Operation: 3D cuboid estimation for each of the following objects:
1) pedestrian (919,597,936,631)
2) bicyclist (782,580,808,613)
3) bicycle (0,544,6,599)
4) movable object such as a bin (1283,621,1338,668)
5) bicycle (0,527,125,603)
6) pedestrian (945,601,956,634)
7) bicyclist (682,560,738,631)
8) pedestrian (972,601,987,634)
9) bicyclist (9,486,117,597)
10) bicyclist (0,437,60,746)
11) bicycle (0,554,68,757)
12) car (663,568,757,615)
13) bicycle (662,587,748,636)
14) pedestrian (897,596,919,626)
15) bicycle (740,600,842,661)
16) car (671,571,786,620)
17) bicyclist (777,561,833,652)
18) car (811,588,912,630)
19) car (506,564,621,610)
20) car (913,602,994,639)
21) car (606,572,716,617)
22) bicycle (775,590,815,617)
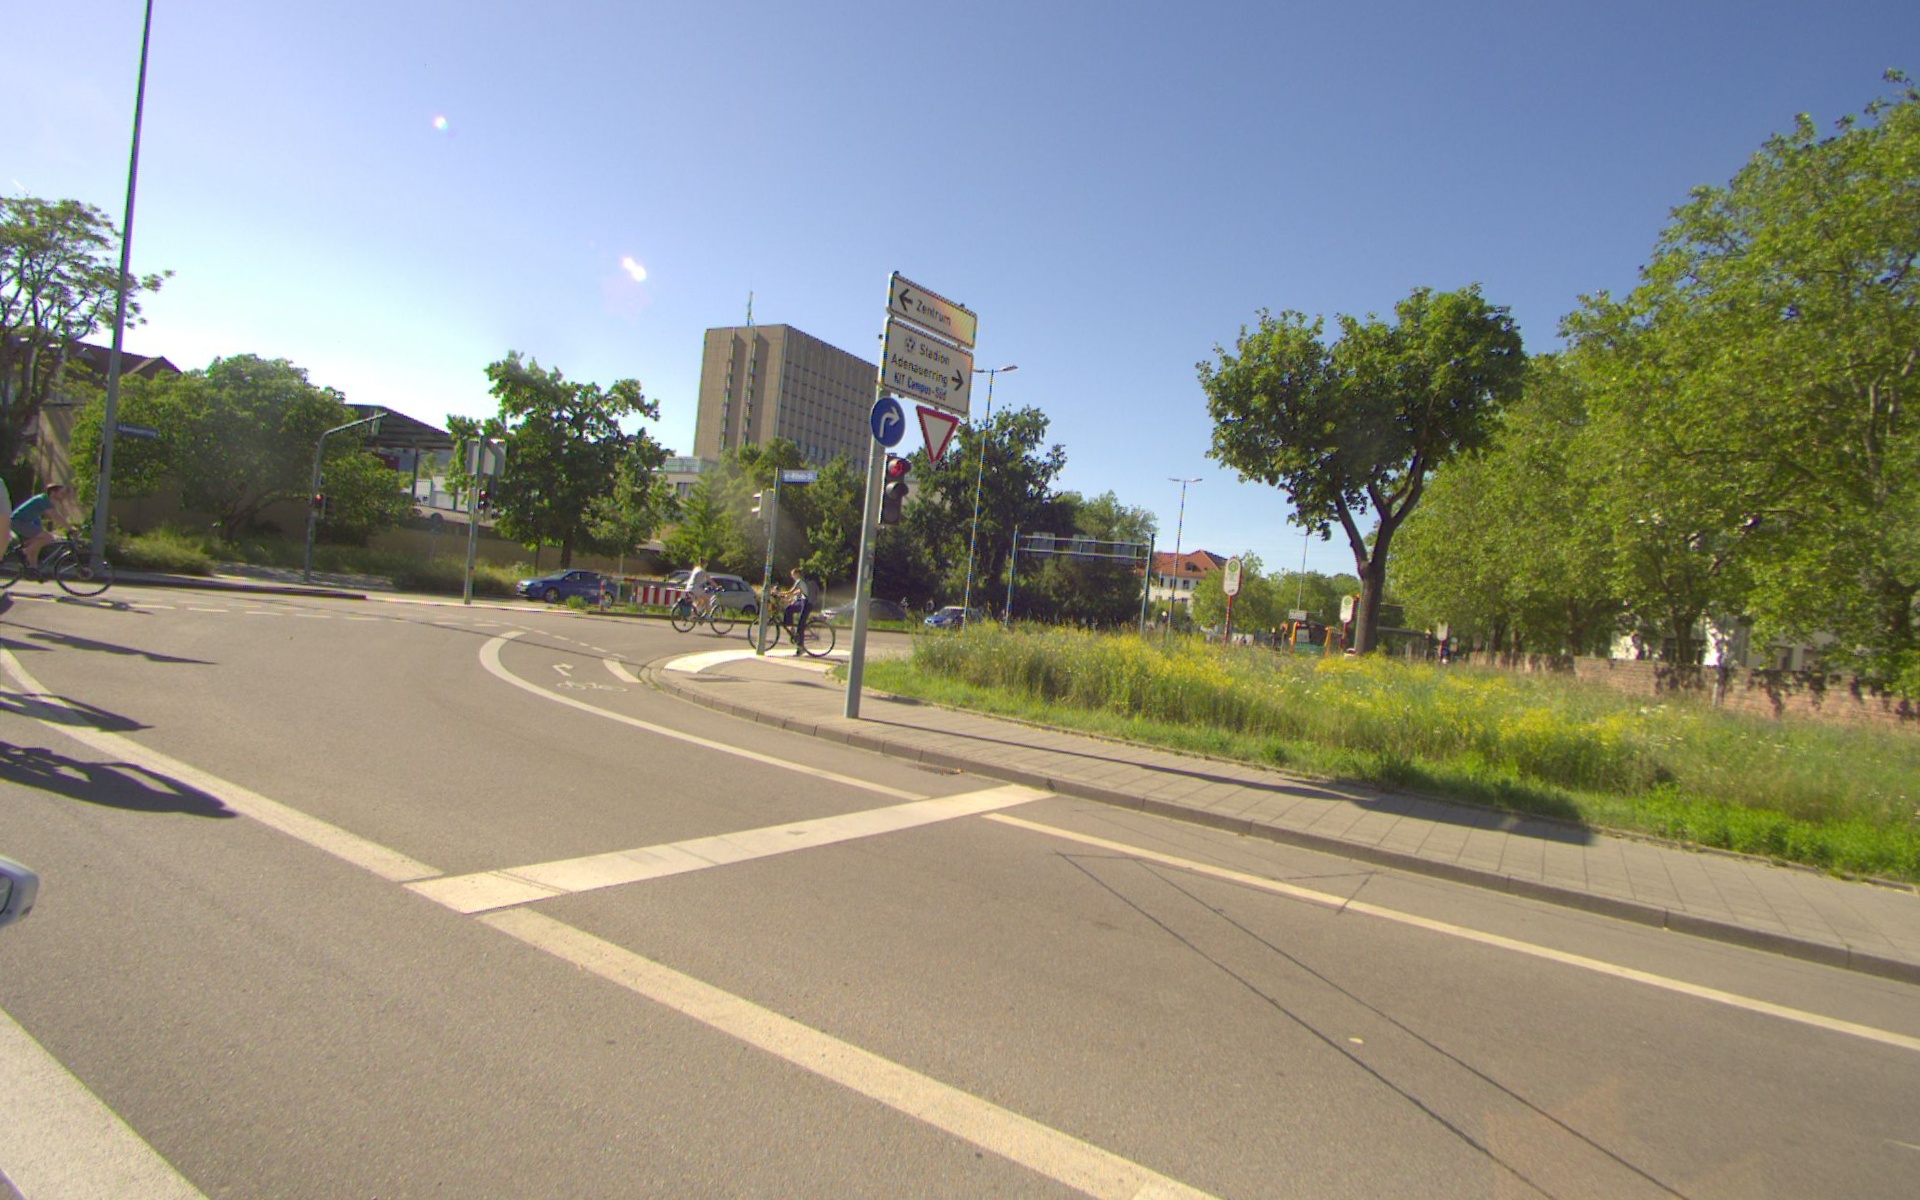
[{"bbox_3d":[-2.375,1.035,74.432,0.660,2.451,0.770,6,-1,34],"label":"pedestrian"},{"bbox_3d":[-7.320,-0.169,44.647,0.602,1.360,0.874,7,1,37],"label":"bicyclist"},{"bbox_3d":[-8.212,0.019,7.770,1.890,1.102,0.690,6,-1,32],"label":"bicycle"},{"bbox_3d":[25.414,3.266,72.652,2.952,2.898,9.185,7,0,23],"label":"movable object such as a bin"},{"bbox_3d":[-13.578,-0.528,14.782,0.640,0.986,1.895,7,1,39],"label":"bicycle"},{"bbox_3d":[-0.721,1.349,77.588,0.401,2.451,0.467,6,-1,34],"label":"pedestrian"},{"bbox_3d":[-5.818,-0.098,23.439,0.509,1.548,1.067,7,2,39],"label":"bicyclist"},{"bbox_3d":[1.489,1.325,77.683,0.710,2.451,0.585,6,-1,34],"label":"pedestrian"},{"bbox_3d":[-13.365,-0.859,14.999,0.632,1.533,1.049,7,2,39],"label":"bicyclist"},{"bbox_3d":[-6.180,-0.105,6.067,1.123,1.813,0.684,7,0,32],"label":"bicyclist"},{"bbox_3d":[-6.242,0.240,6.071,1.890,1.102,0.690,6,-1,32],"label":"bicycle"},{"bbox_3d":[-11.843,-0.369,47.794,1.767,1.771,3.986,7,0,37],"label":"car"},{"bbox_3d":[-5.906,0.285,23.380,0.514,1.000,1.965,7,1,39],"label":"bicycle"},{"bbox_3d":[-3.714,0.775,71.495,0.752,2.039,1.267,7,1,36],"label":"pedestrian"},{"bbox_3d":[-3.291,0.589,19.676,1.856,0.970,0.635,7,1,-10],"label":"bicycle"},{"bbox_3d":[-8.740,-0.133,38.287,1.767,1.415,3.986,7,0,37],"label":"car"},{"bbox_3d":[-3.038,0.122,19.704,0.898,1.667,0.630,6,1,-9],"label":"bicyclist"},{"bbox_3d":[-4.310,0.433,44.628,1.767,1.415,4.557,7,0,37],"label":"car"},{"bbox_3d":[-16.211,-0.528,41.316,1.767,1.415,3.986,7,0,37],"label":"car"},{"bbox_3d":[-0.295,1.048,50.455,1.916,1.415,3.986,6,0,37],"label":"car"},{"bbox_3d":[-12.300,-0.203,41.569,1.767,1.415,3.986,7,0,37],"label":"car"},{"bbox_3d":[-7.321,0.160,44.701,0.602,1.046,1.681,7,0,37],"label":"bicycle"}]
